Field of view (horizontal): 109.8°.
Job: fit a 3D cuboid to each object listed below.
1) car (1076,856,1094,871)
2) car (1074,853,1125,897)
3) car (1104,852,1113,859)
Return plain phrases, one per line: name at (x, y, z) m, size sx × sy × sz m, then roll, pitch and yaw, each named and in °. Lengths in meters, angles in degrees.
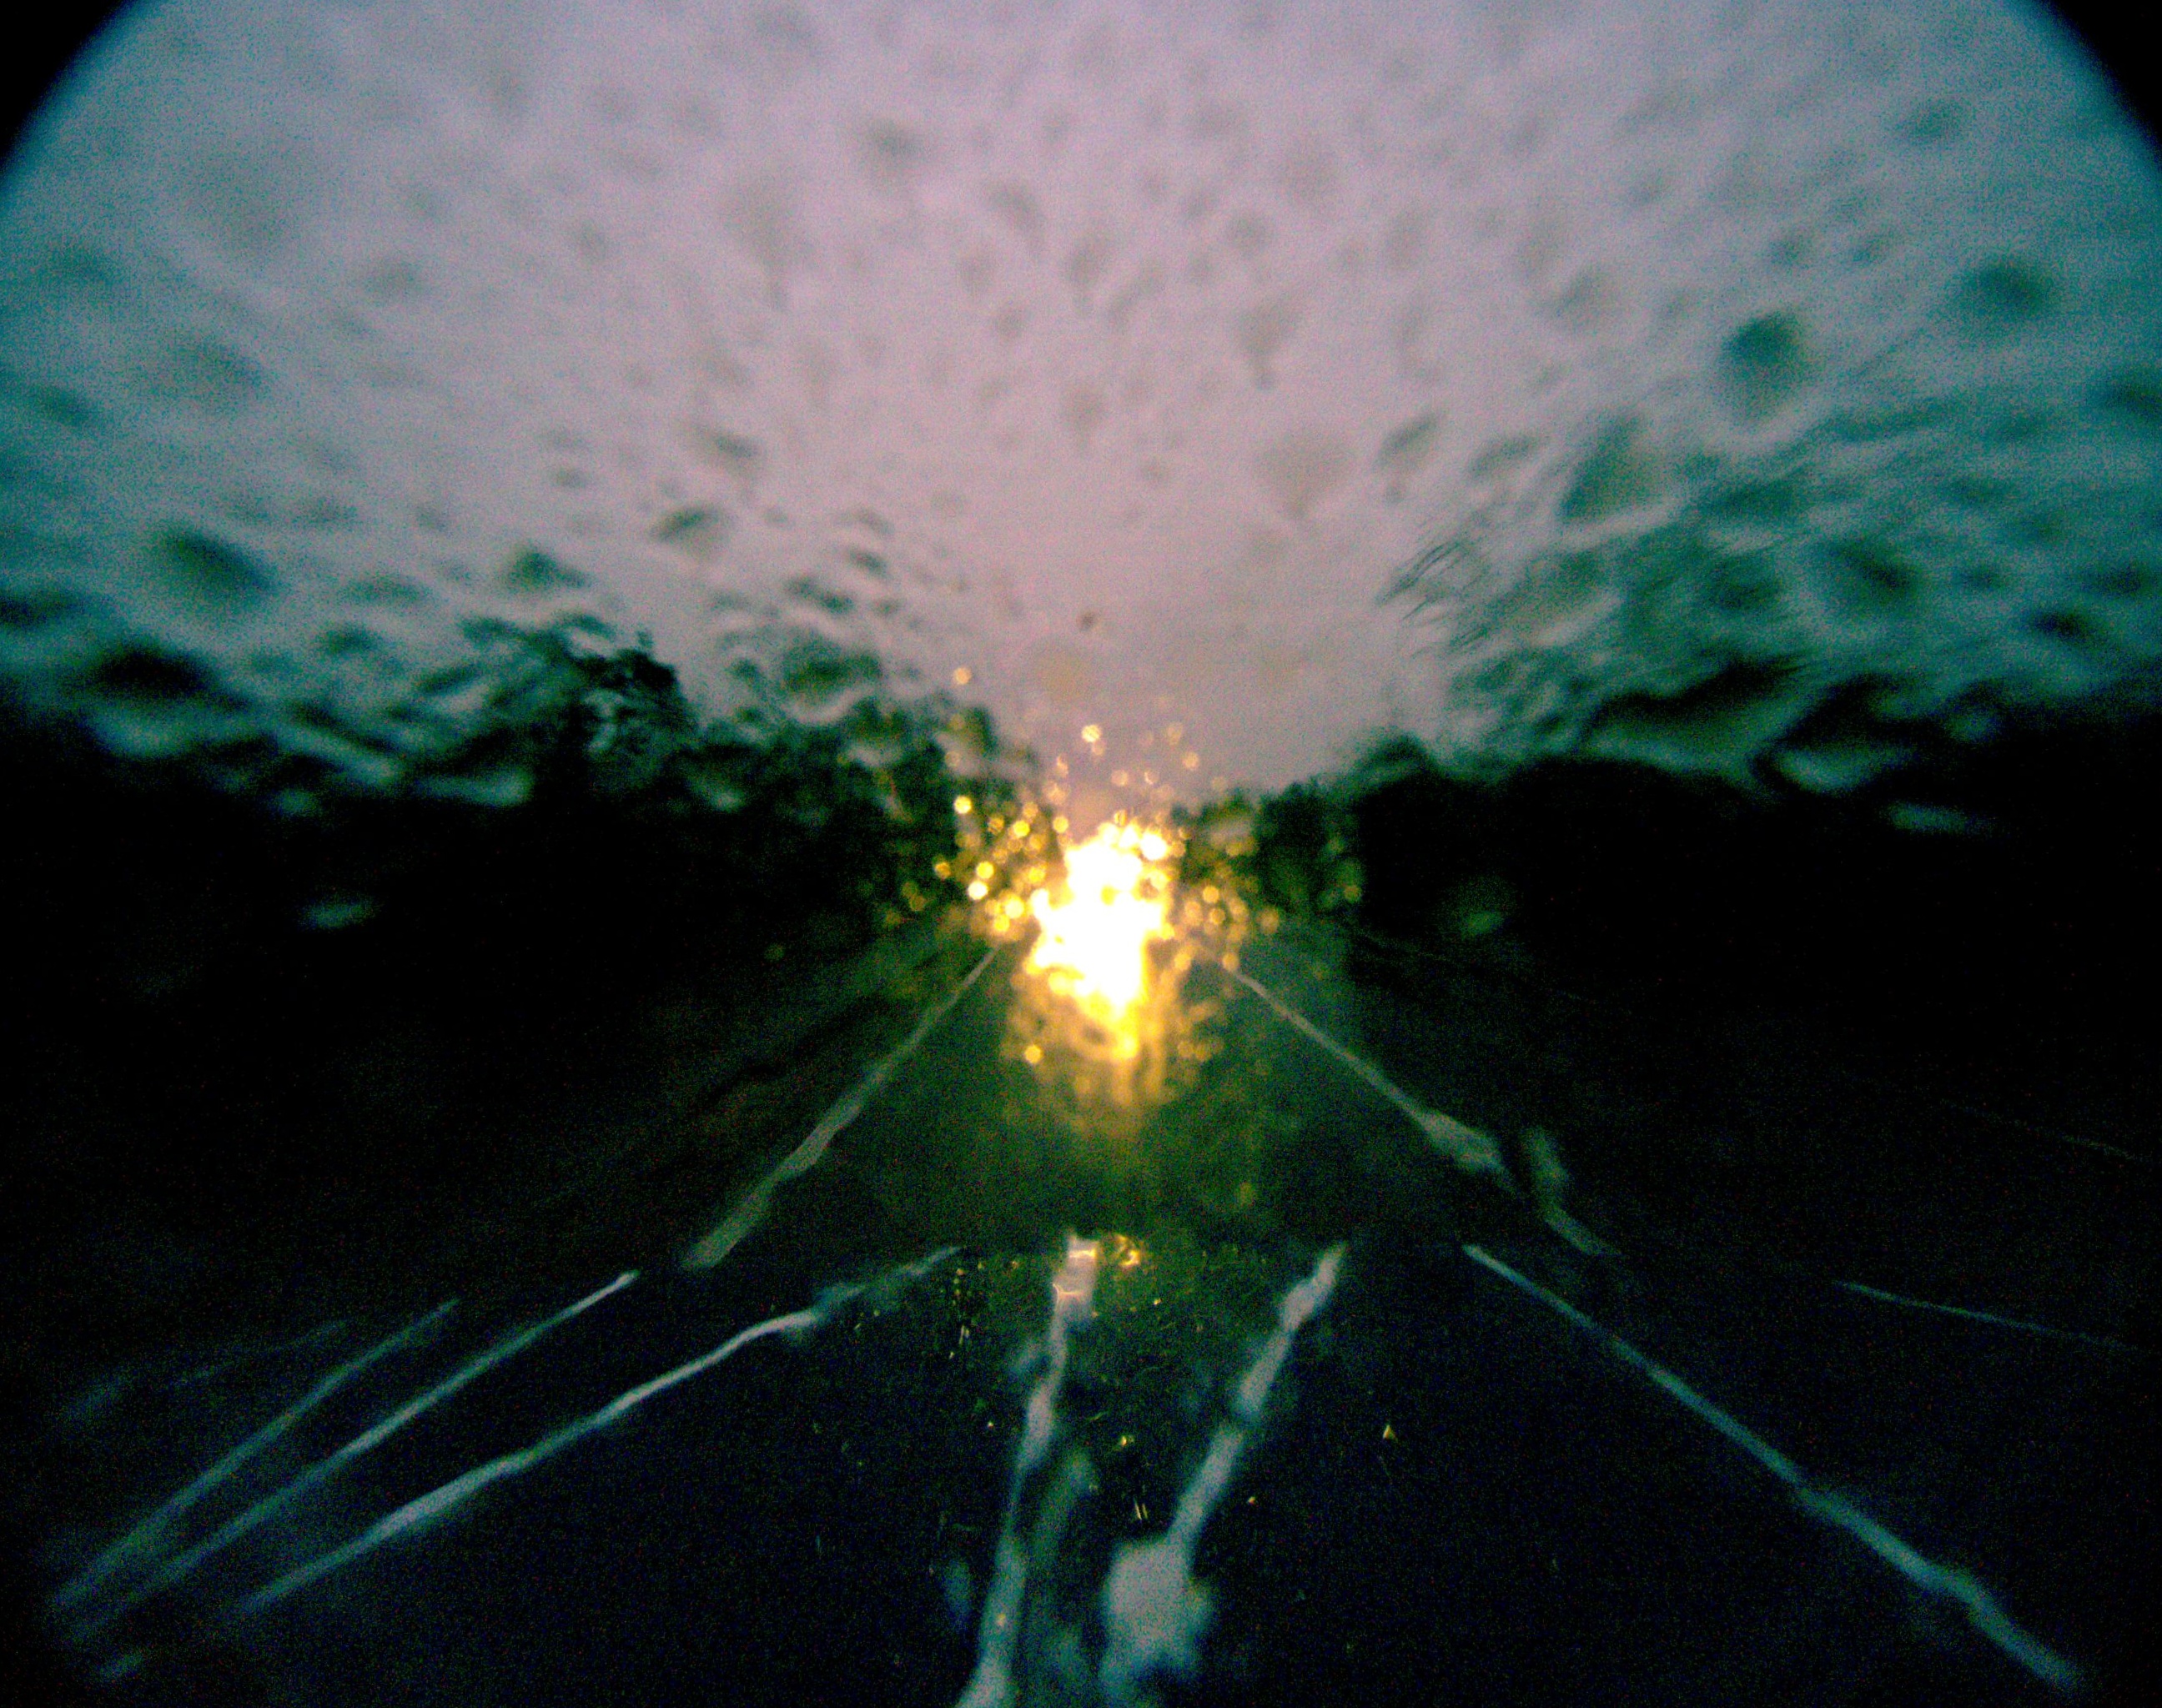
car at (0.518, 1.156, 91.298) m, size 1.998 × 1.612 × 4.000 m, roll -2°, pitch 1°, yaw 1°
car at (0.707, 0.789, 30.382) m, size 1.860 × 1.604 × 4.000 m, roll -1°, pitch 0°, yaw 1°
car at (5.894, 0.337, 163.814) m, size 1.636 × 1.449 × 3.982 m, roll 1°, pitch 0°, yaw 0°
